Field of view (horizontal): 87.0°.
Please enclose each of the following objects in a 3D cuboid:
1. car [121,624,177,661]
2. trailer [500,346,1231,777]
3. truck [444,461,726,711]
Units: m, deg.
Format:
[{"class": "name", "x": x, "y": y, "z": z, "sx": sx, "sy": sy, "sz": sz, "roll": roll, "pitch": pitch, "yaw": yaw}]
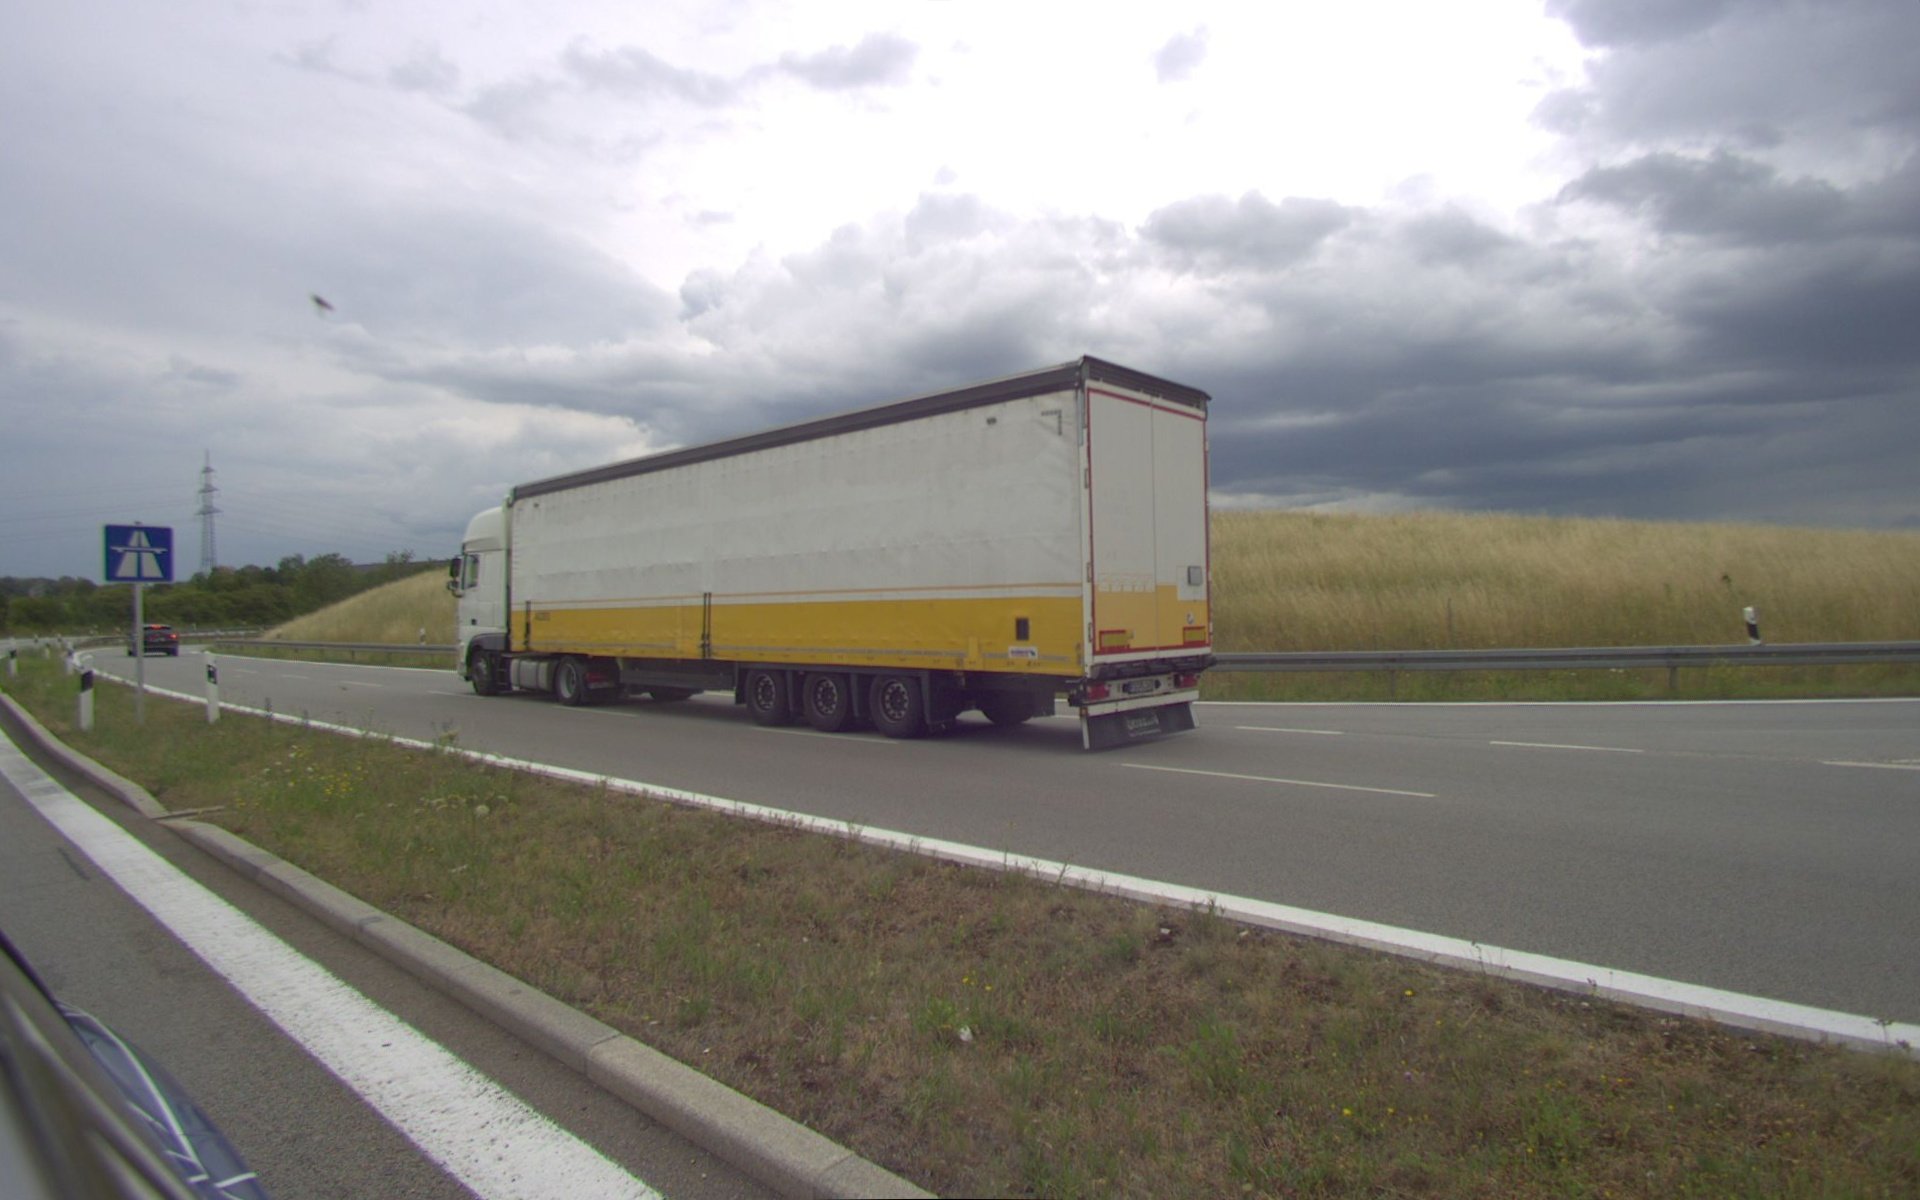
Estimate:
[{"class": "car", "x": -40.813, "y": 2.093, "z": 50.922, "sx": 1.969, "sy": 1.696, "sz": 4.119, "roll": -1, "pitch": 0, "yaw": -42}, {"class": "trailer", "x": -2.801, "y": -0.329, "z": 15.657, "sx": 13.840, "sy": 4.242, "sz": 2.663, "roll": -1, "pitch": 0, "yaw": 43}, {"class": "truck", "x": -7.597, "y": -0.213, "z": 20.067, "sx": 6.403, "sy": 4.172, "sz": 2.621, "roll": -1, "pitch": 0, "yaw": 43}]
